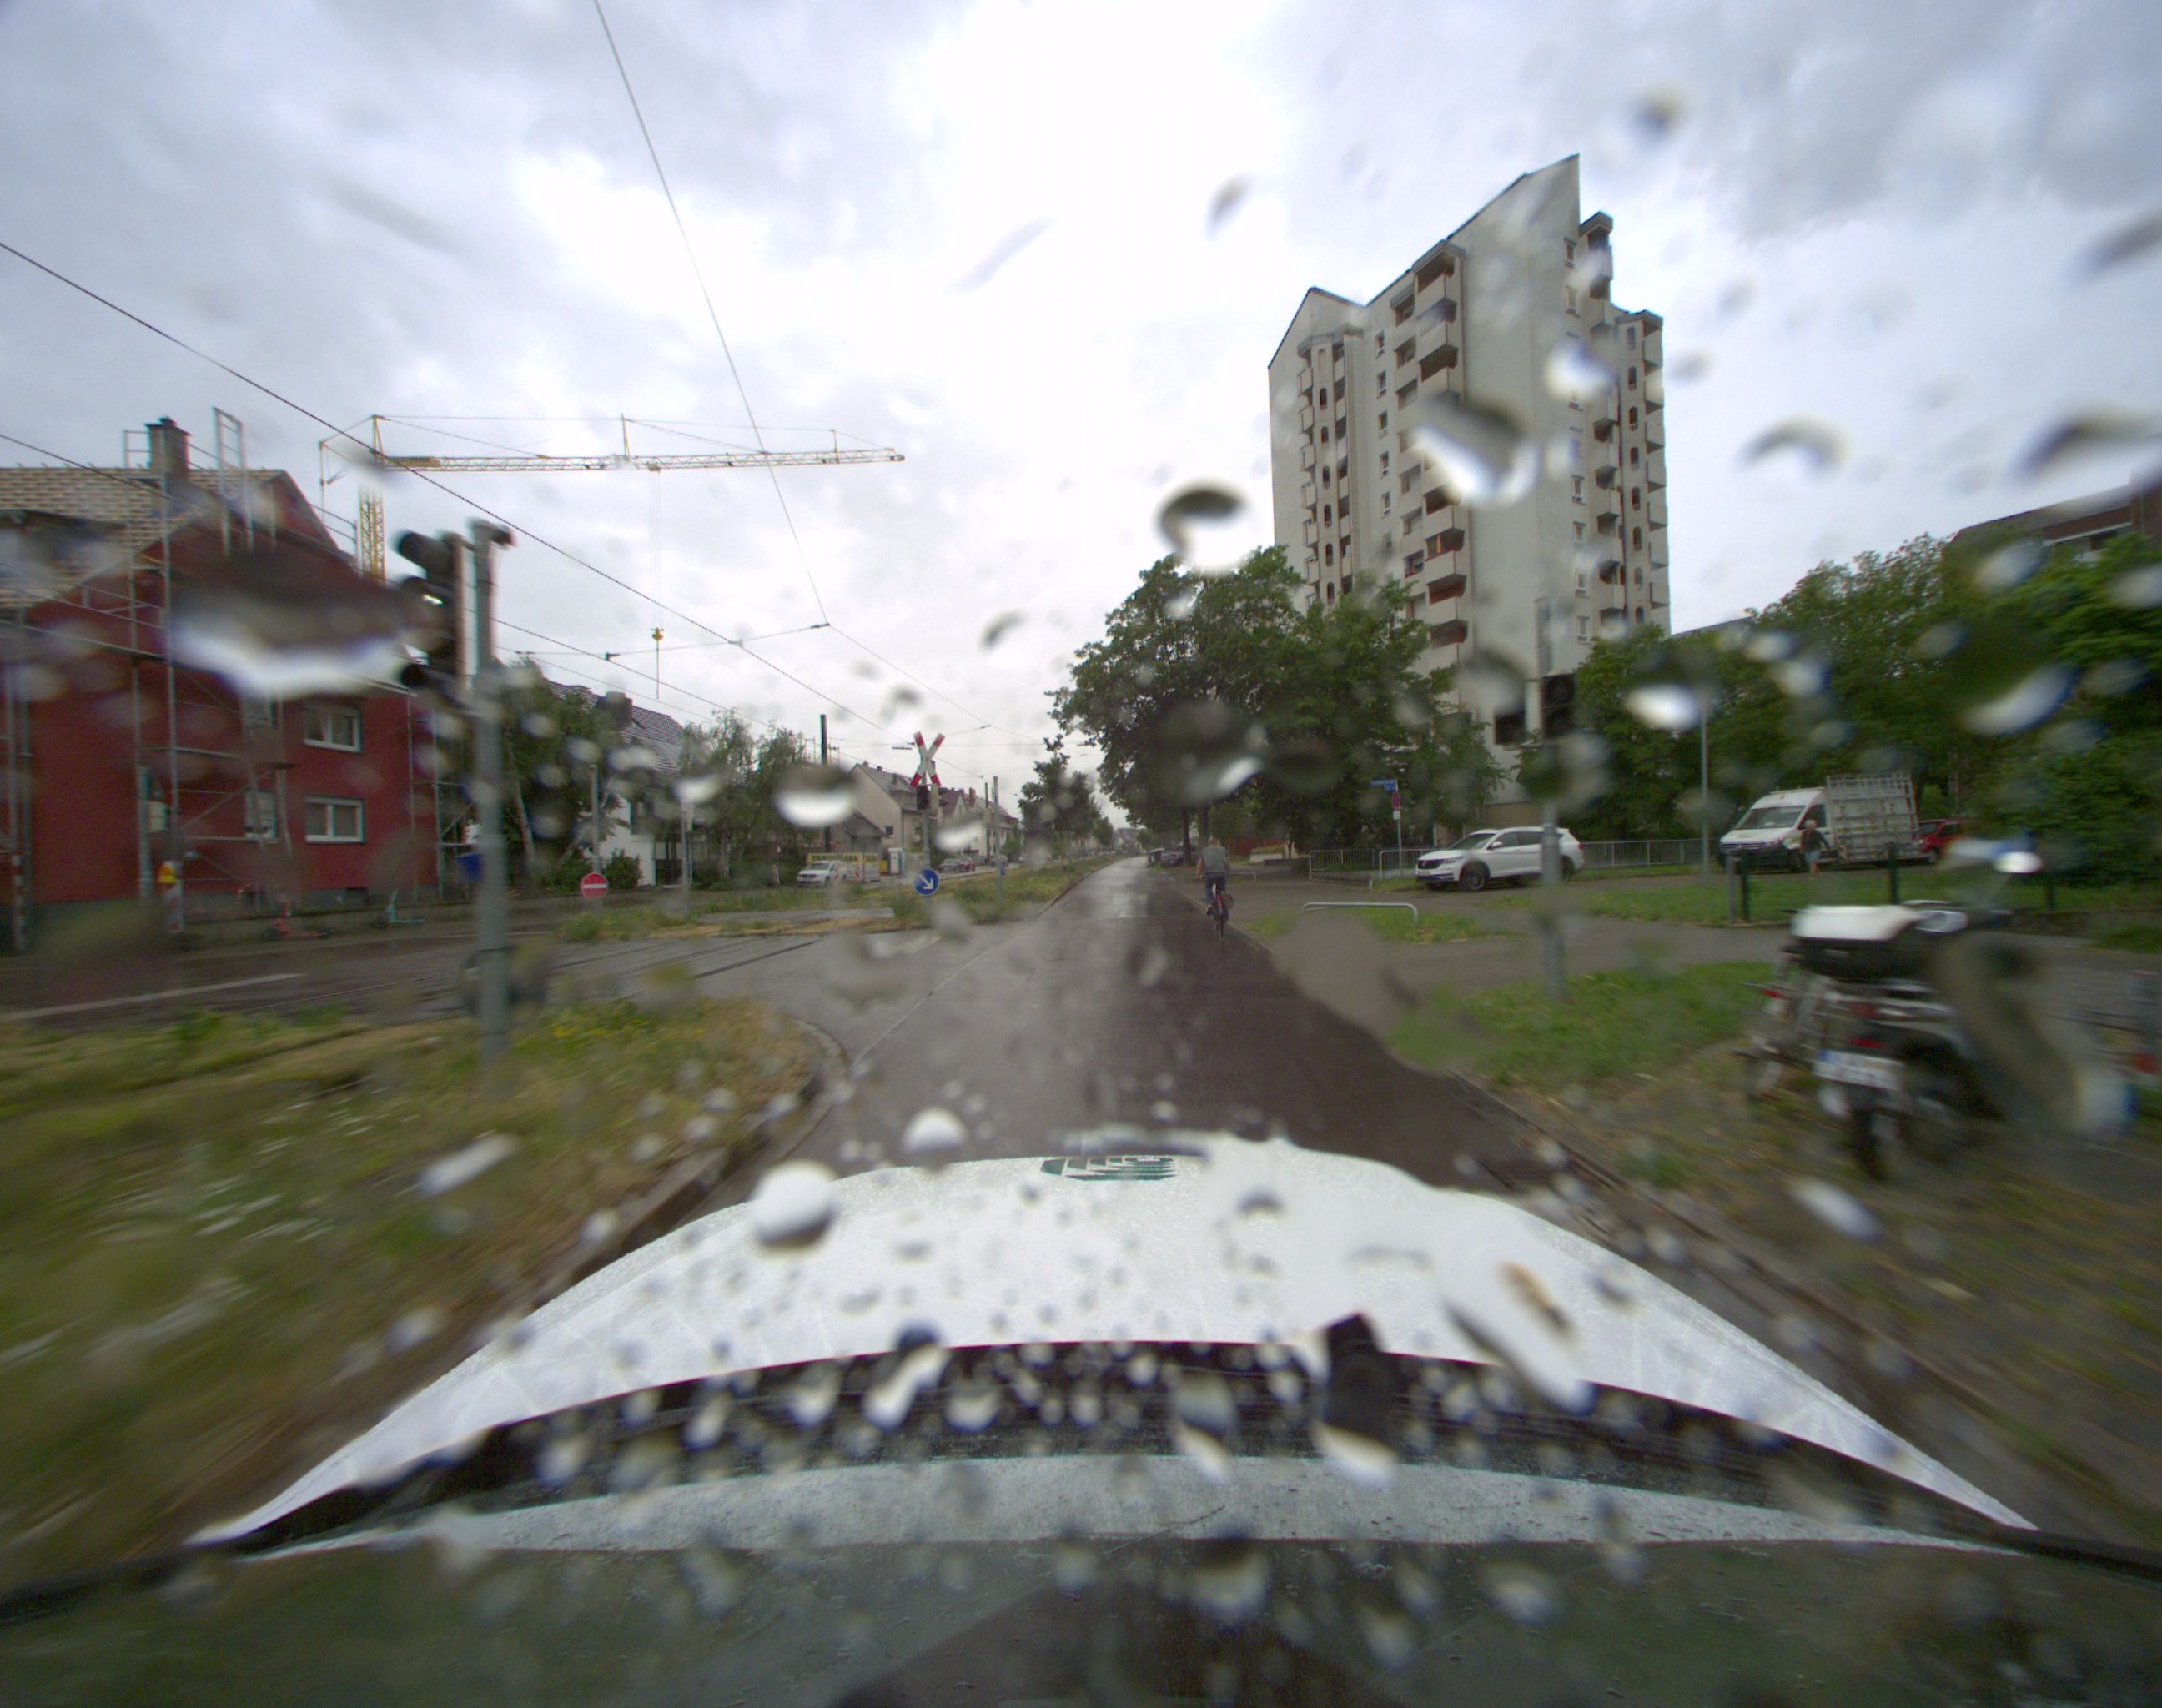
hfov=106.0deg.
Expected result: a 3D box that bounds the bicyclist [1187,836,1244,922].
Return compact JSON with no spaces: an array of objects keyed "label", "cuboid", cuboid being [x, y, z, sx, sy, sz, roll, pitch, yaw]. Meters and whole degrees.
[{"label":"bicyclist","cuboid":[2.359,0.424,14.410,0.806,1.432,1.060,-3,0,1]}]

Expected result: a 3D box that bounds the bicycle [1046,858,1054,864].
[{"label":"bicycle","cuboid":[-5.592,1.258,148.082,1.014,1.027,3.200,-2,0,4]}]

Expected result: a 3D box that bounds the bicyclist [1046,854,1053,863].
[{"label":"bicyclist","cuboid":[-5.658,0.793,147.470,1.014,1.685,1.093,-2,0,3]}]

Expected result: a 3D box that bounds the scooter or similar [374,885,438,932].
[{"label":"scooter or similar","cuboid":[-18.448,1.475,22.283,0.390,1.180,1.289,-2,0,18]}]

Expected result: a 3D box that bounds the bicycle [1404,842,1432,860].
[{"label":"bicycle","cuboid":[18.944,-0.152,45.764,0.410,0.925,1.450,-3,0,-34]}]

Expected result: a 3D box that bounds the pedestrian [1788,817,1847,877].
[{"label":"pedestrian","cuboid":[19.839,-0.192,21.945,0.839,1.570,0.810,-2,0,-15]}]

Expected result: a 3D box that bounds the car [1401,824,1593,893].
[{"label":"car","cuboid":[12.058,0.105,23.693,4.807,1.745,1.991,-2,0,-13]}]

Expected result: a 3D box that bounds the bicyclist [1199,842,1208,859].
[{"label":"bicyclist","cuboid":[12.248,-0.340,81.663,0.731,1.594,0.945,-3,0,3]}]

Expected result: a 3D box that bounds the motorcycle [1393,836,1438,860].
[{"label":"motorcycle","cuboid":[19.349,-0.359,47.184,0.889,1.288,2.278,-3,0,-34]}]

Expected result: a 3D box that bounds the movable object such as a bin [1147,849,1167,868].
[{"label":"movable object such as a bin","cuboid":[6.573,0.414,70.247,1.128,1.457,1.393,-8,2,-17]}]

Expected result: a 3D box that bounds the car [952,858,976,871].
[{"label":"car","cuboid":[-11.843,1.081,82.625,1.667,1.244,3.859,0,0,4]}]

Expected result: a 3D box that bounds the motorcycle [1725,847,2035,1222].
[{"label":"motorcycle","cuboid":[3.838,0.686,3.869,1.787,1.336,0.682,-3,0,-34]}]

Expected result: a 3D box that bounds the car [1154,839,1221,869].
[{"label":"car","cuboid":[7.430,0.000,56.749,4.160,1.719,1.981,-5,1,-29]}]

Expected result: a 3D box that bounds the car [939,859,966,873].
[{"label":"car","cuboid":[-12.135,1.128,77.363,1.656,1.244,4.076,0,0,4]}]

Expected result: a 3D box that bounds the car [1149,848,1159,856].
[{"label":"car","cuboid":[15.894,-0.451,177.448,1.825,1.586,4.004,-2,0,4]}]

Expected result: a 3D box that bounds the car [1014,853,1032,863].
[{"label":"car","cuboid":[-8.854,0.670,125.461,1.887,1.469,4.696,0,0,7]}]

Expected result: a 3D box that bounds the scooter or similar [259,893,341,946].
[{"label":"scooter or similar","cuboid":[-18.370,1.523,19.175,0.435,1.129,1.291,-2,0,32]}]

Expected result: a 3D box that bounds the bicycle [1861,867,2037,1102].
[{"label":"bicycle","cuboid":[5.406,0.694,5.118,1.968,1.102,0.621,-4,1,-44]}]

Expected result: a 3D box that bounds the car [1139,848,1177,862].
[{"label":"car","cuboid":[8.547,0.120,90.486,4.056,1.443,1.569,-2,0,-33]}]

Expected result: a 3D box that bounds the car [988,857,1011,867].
[{"label":"car","cuboid":[-10.309,0.963,103.317,1.887,1.244,4.696,0,0,7]}]

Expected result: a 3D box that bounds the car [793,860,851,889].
[{"label":"car","cuboid":[-15.239,1.162,48.202,1.702,1.542,4.428,0,0,4]}]

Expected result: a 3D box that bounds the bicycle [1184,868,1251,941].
[{"label":"bicycle","cuboid":[2.374,0.849,14.482,0.806,1.096,2.518,-3,0,2]}]

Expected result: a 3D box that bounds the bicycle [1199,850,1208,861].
[{"label":"bicycle","cuboid":[12.249,0.138,81.565,0.731,1.056,2.052,-2,0,3]}]

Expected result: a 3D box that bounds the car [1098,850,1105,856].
[{"label":"car","cuboid":[6.011,-0.262,243.761,1.835,1.672,4.004,-2,0,4]}]

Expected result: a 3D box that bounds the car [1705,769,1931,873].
[{"label":"car","cuboid":[23.144,-1.031,25.635,6.062,2.964,2.121,-2,0,-13]}]

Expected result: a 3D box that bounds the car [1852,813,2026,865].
[{"label":"car","cuboid":[28.648,-0.503,27.246,4.404,1.526,1.901,-2,0,-10]}]
